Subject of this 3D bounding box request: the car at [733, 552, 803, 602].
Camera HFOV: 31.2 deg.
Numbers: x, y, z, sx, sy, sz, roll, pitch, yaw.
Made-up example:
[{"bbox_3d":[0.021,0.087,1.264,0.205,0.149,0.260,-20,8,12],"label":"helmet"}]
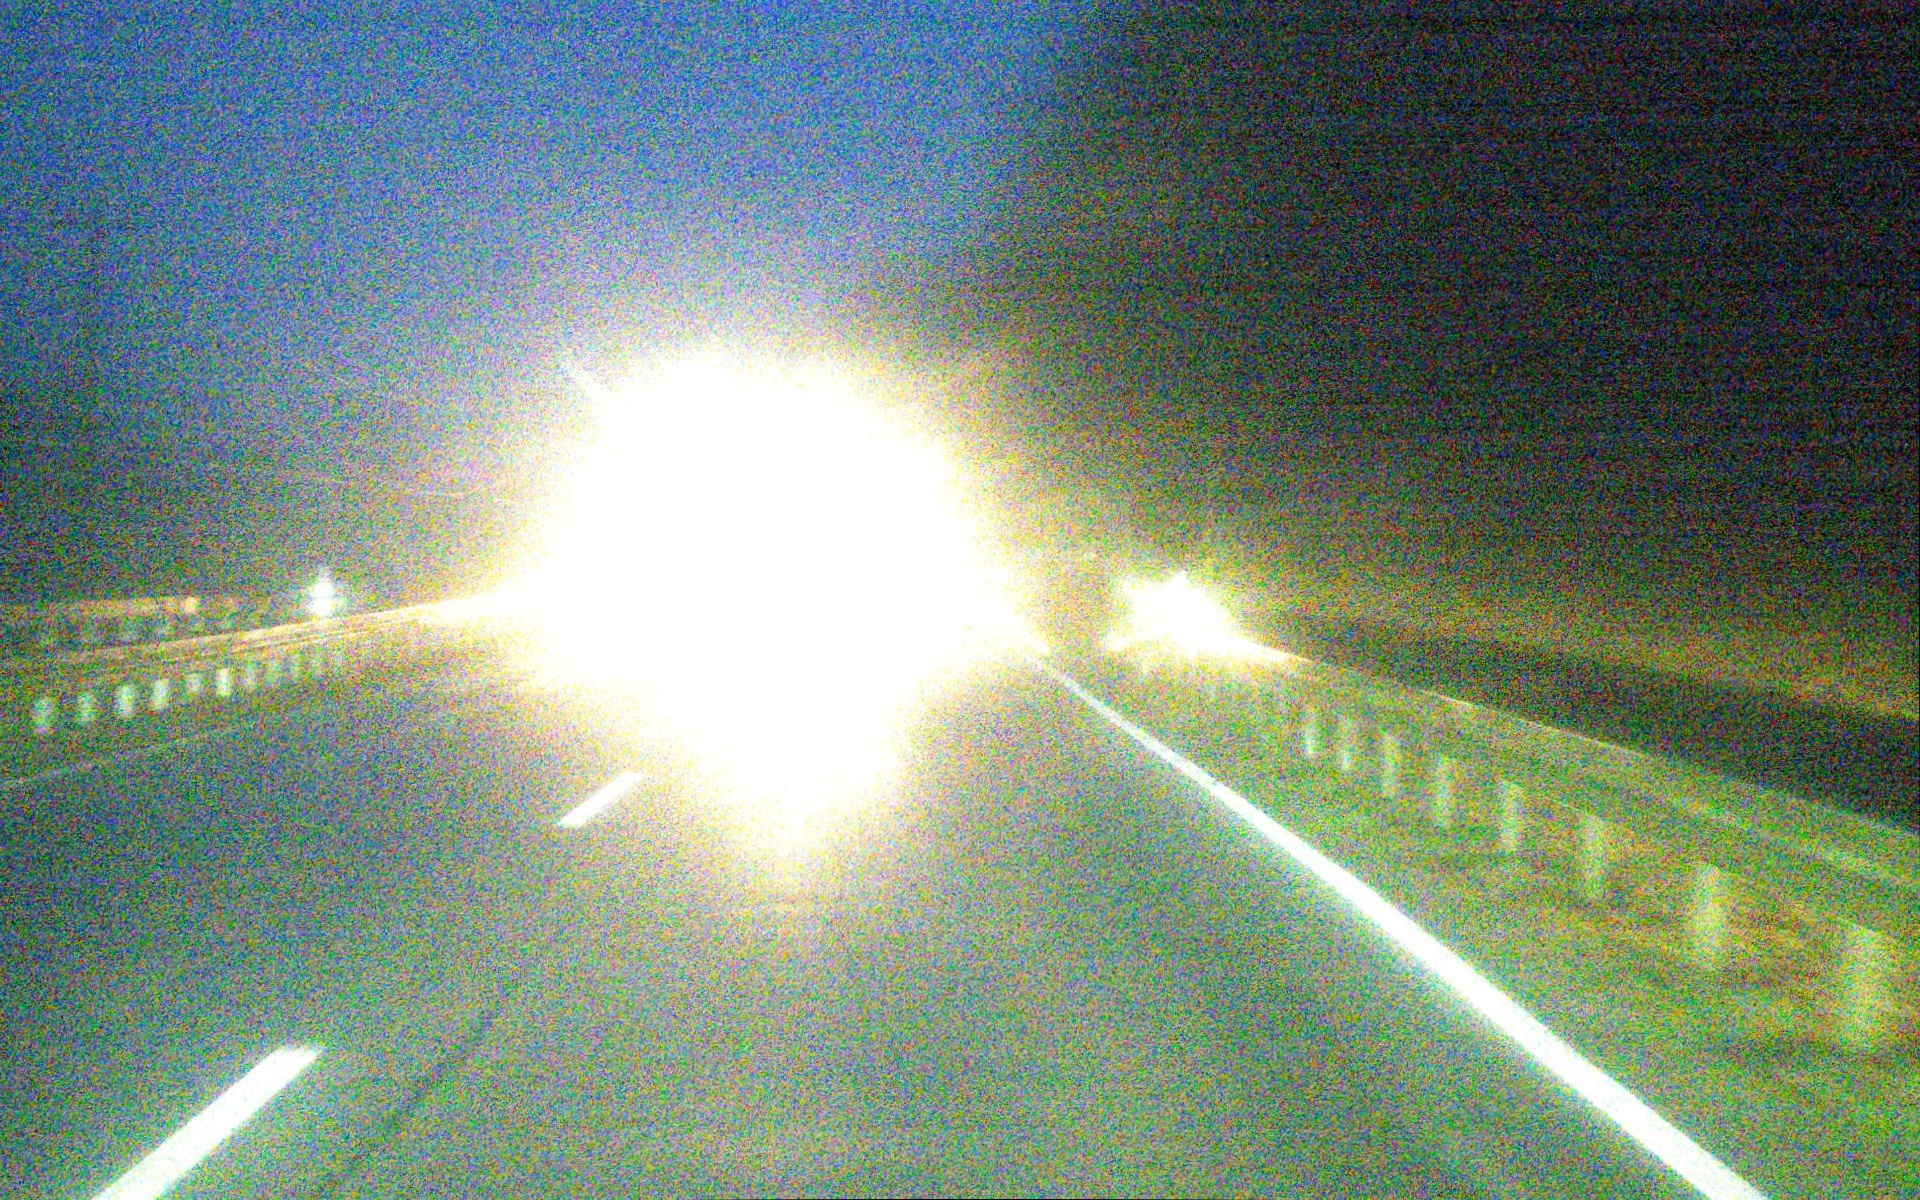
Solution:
[{"bbox_3d":[-5.931,-0.716,106.412,1.993,1.470,3.924,1,0,-1],"label":"car"}]
